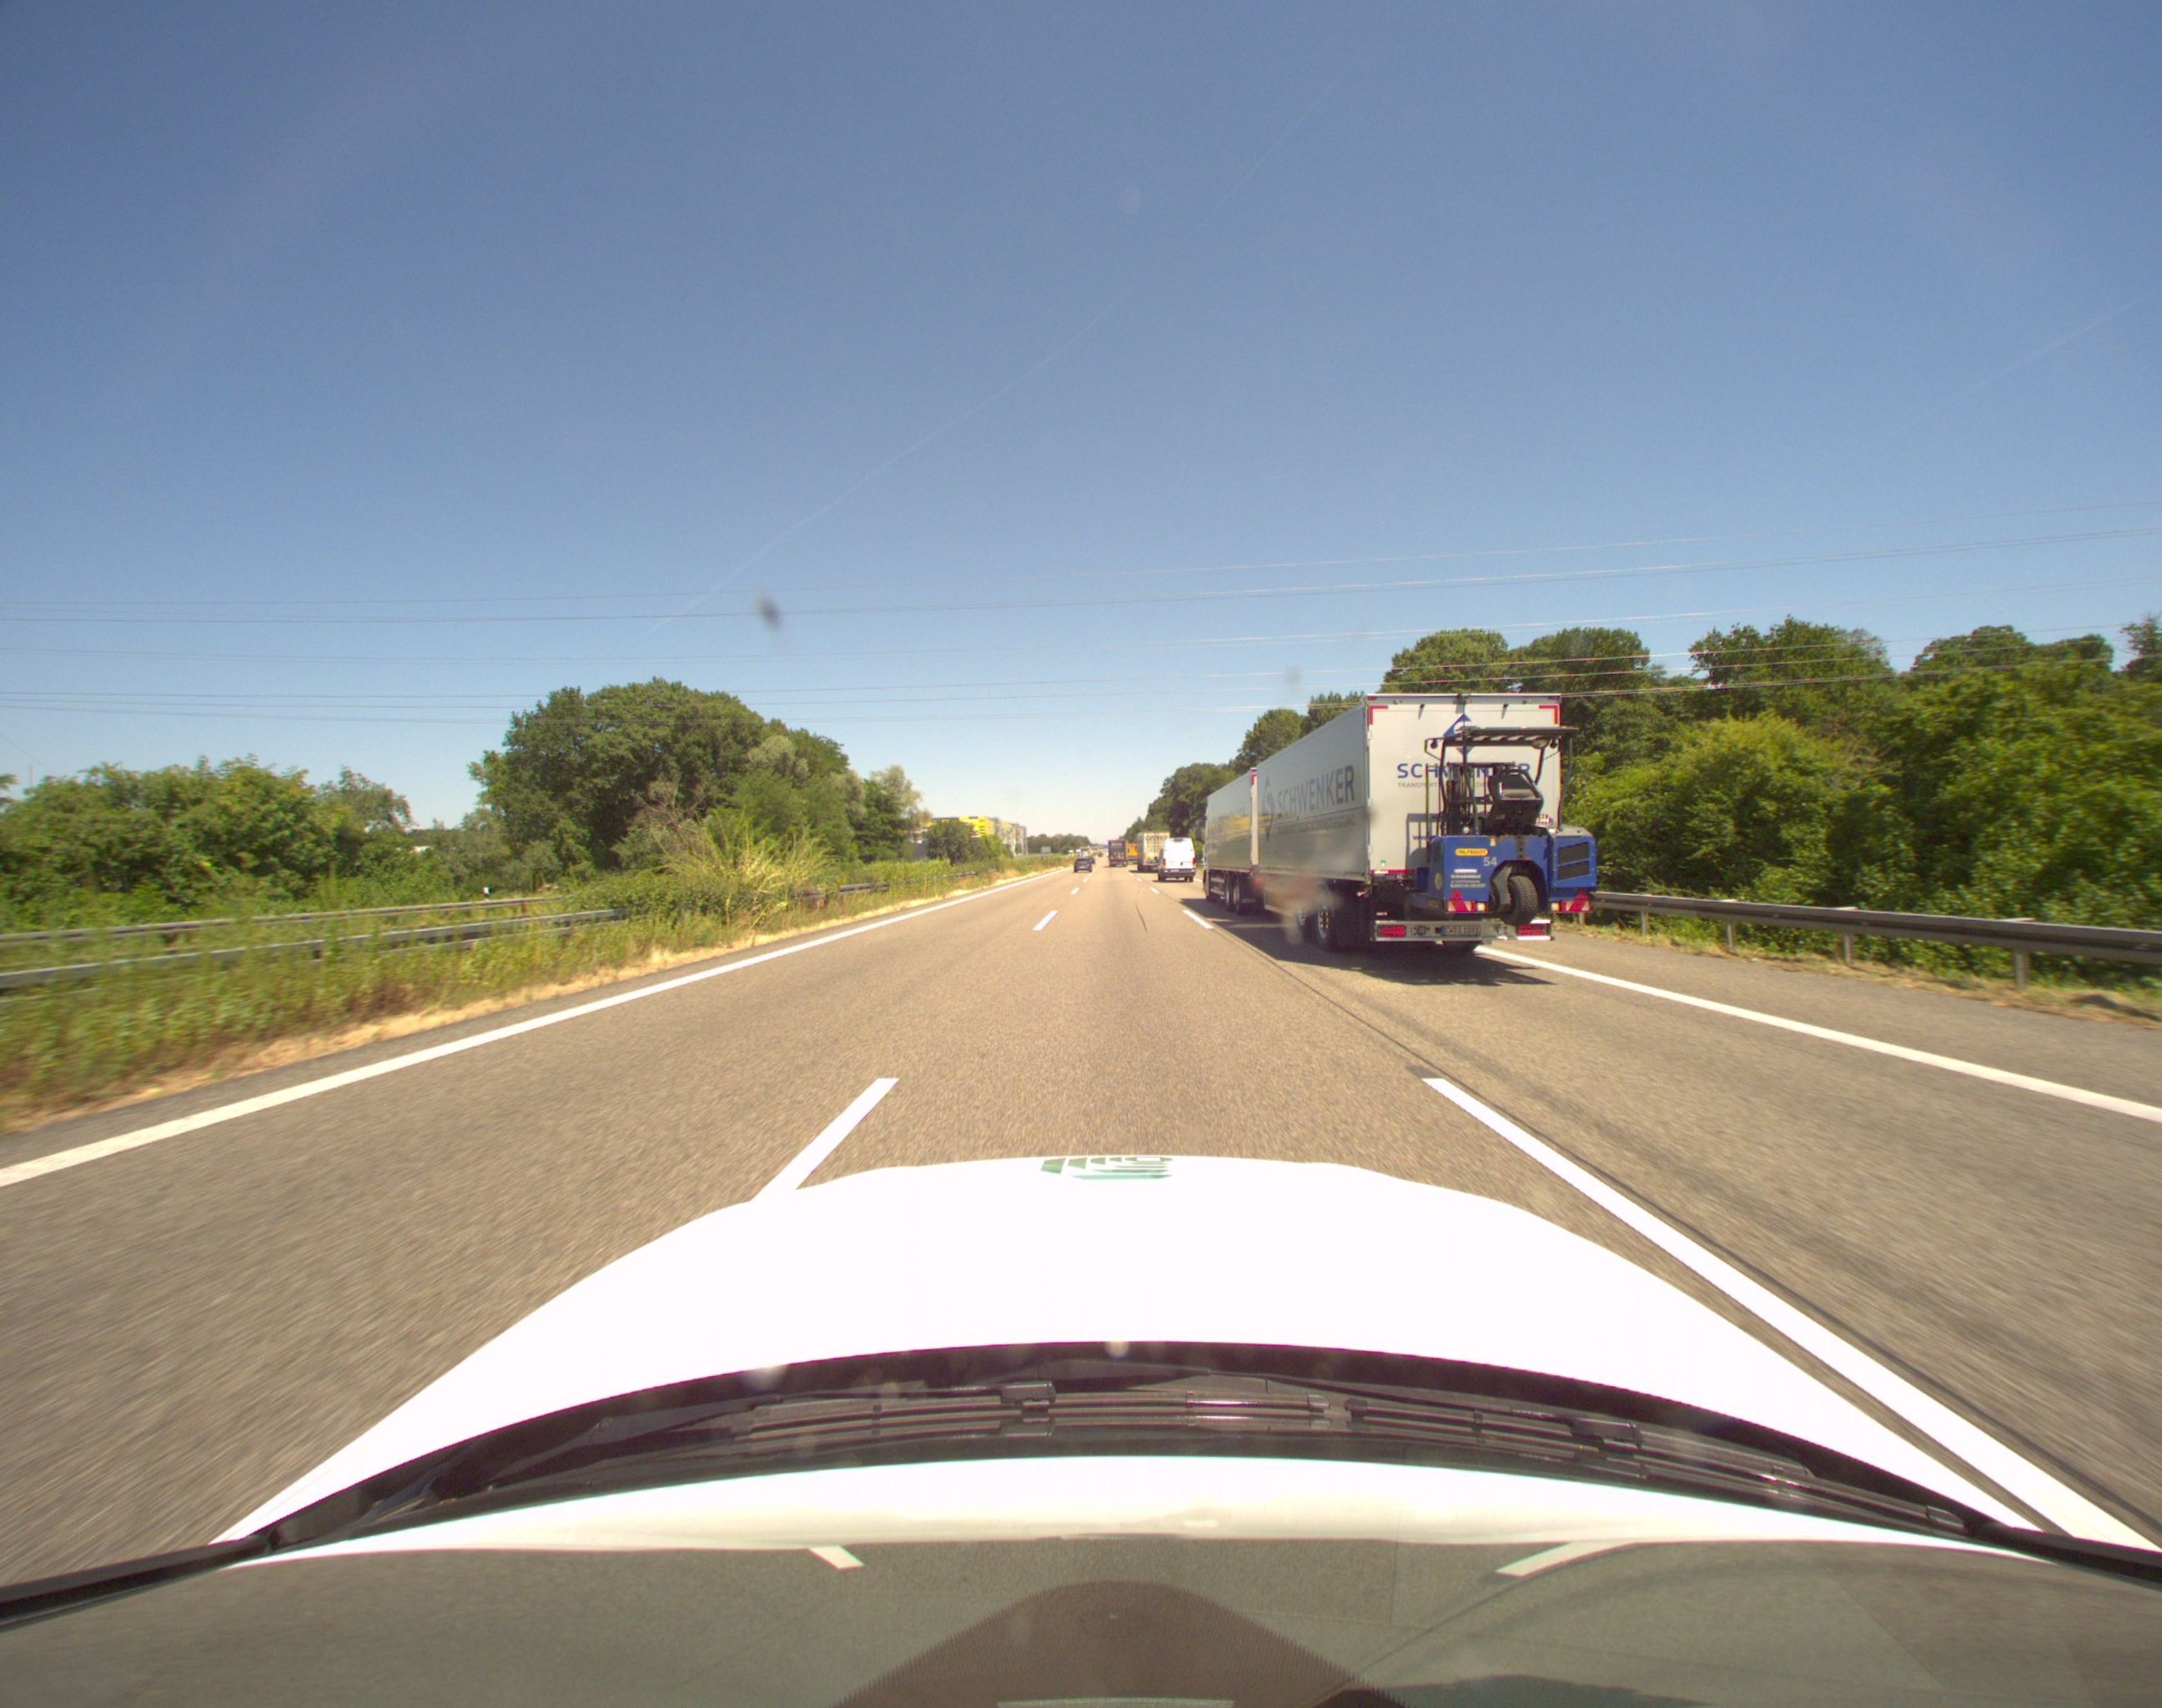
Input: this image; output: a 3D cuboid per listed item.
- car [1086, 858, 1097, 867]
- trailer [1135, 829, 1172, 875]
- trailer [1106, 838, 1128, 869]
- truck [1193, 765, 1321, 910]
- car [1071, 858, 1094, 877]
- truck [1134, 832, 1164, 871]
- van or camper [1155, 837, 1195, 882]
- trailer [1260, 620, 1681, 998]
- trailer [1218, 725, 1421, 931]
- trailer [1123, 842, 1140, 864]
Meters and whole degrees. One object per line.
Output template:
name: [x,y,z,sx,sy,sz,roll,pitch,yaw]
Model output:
car: [2.055,1.644,160.834,1.934,1.706,4.001,-1,0,2]
trailer: [7.278,-0.191,83.556,2.982,4.289,13.423,0,0,2]
trailer: [5.405,-0.010,125.354,3.095,4.507,14.899,0,0,1]
truck: [5.404,-0.434,26.239,2.878,4.030,6.873,0,0,2]
car: [0.195,1.388,85.788,2.208,1.790,5.395,-2,0,2]
truck: [7.504,-0.249,90.912,2.991,4.125,5.254,-1,-1,2]
van or camper: [5.922,0.332,52.043,2.015,2.637,6.489,0,0,1]
trailer: [5.081,-0.459,12.838,2.934,4.063,8.131,0,0,2]
trailer: [5.290,-0.484,19.631,2.909,4.041,7.319,0,0,2]
trailer: [9.821,-0.231,158.236,2.824,3.953,11.687,-1,0,2]
